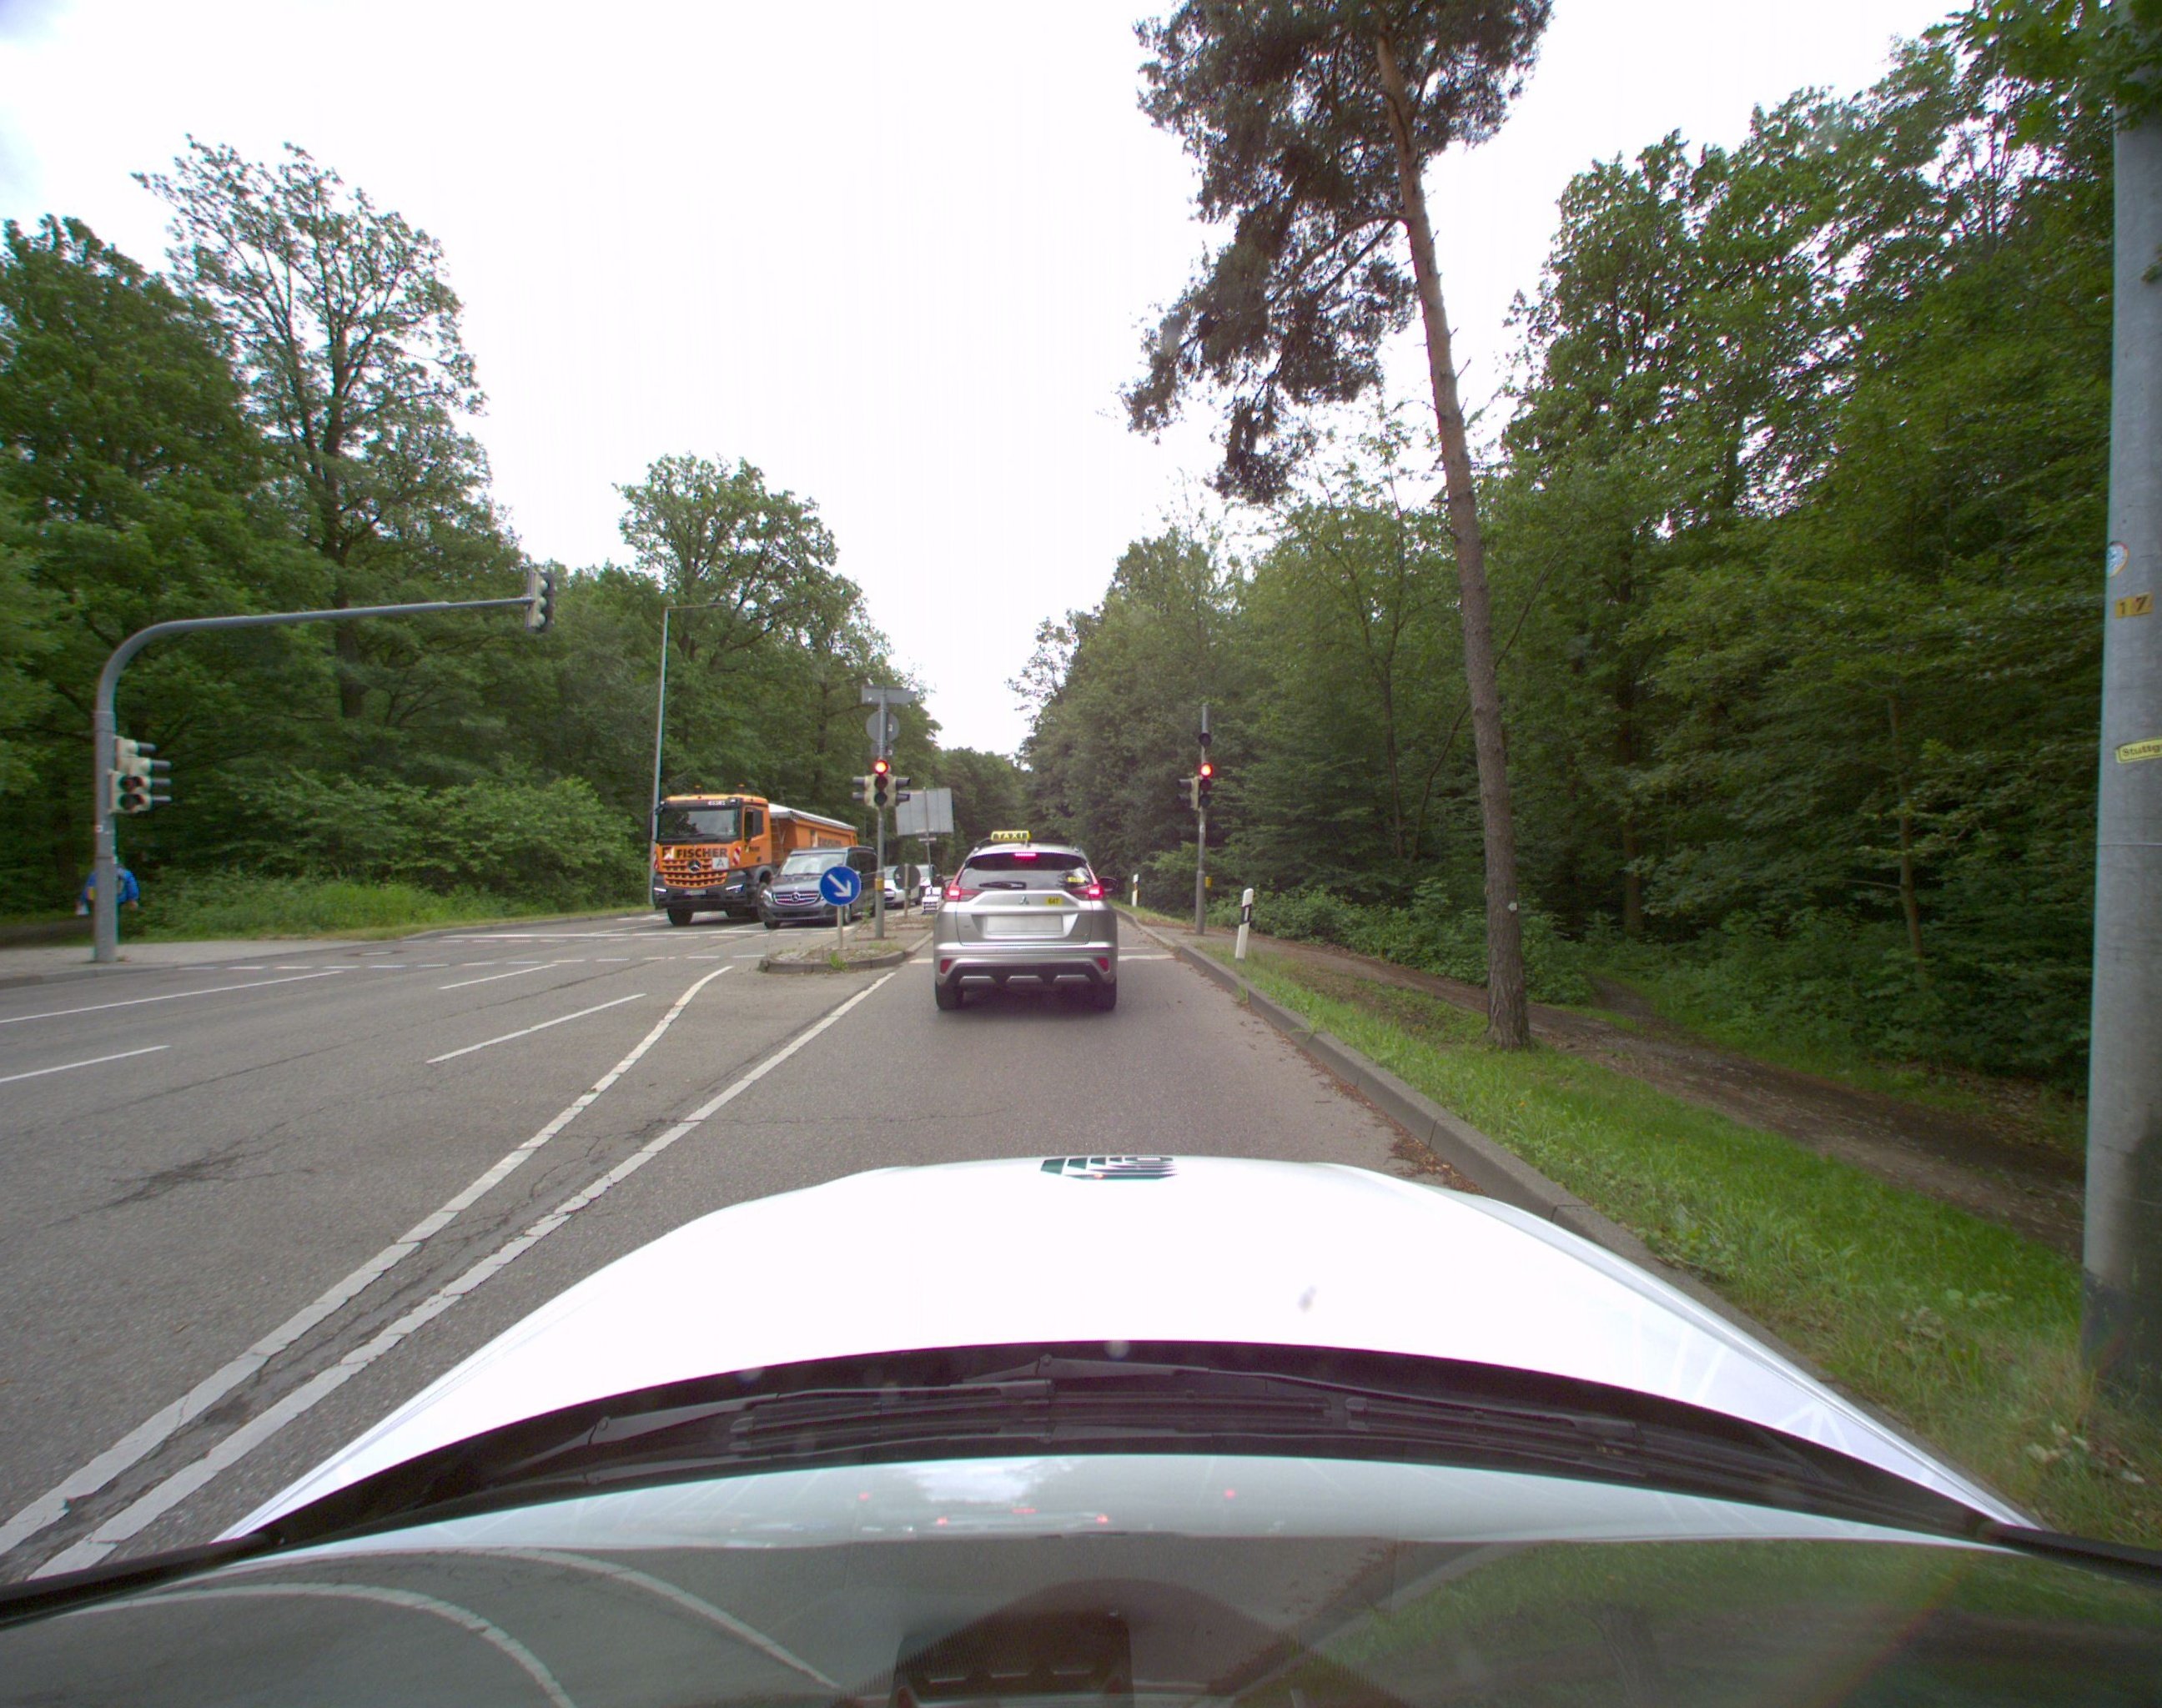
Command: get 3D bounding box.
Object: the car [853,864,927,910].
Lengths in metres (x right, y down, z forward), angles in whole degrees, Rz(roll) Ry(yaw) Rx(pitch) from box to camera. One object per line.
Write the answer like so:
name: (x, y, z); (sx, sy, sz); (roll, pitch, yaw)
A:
car: (-6.456, 1.074, 27.820); (1.607, 1.321, 3.720); (-3, 0, -1)

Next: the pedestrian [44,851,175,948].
pedestrian: (-17.686, 0.798, 14.859); (1.042, 1.649, 1.070); (3, 1, 4)

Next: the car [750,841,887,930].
car: (-6.431, 0.735, 20.591); (1.988, 1.894, 4.835); (-2, -1, -2)

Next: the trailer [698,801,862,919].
trailer: (-9.762, 0.254, 27.592); (2.733, 3.318, 8.558); (-2, -1, -3)

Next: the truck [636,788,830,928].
truck: (-9.525, 0.165, 23.299); (2.733, 3.318, 7.150); (-2, -1, -3)

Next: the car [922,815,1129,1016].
car: (-0.605, 0.558, 9.288); (1.843, 1.780, 3.995); (0, 0, -4)

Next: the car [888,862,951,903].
car: (-6.635, 1.132, 33.809); (1.806, 1.508, 3.720); (-3, -1, -1)
